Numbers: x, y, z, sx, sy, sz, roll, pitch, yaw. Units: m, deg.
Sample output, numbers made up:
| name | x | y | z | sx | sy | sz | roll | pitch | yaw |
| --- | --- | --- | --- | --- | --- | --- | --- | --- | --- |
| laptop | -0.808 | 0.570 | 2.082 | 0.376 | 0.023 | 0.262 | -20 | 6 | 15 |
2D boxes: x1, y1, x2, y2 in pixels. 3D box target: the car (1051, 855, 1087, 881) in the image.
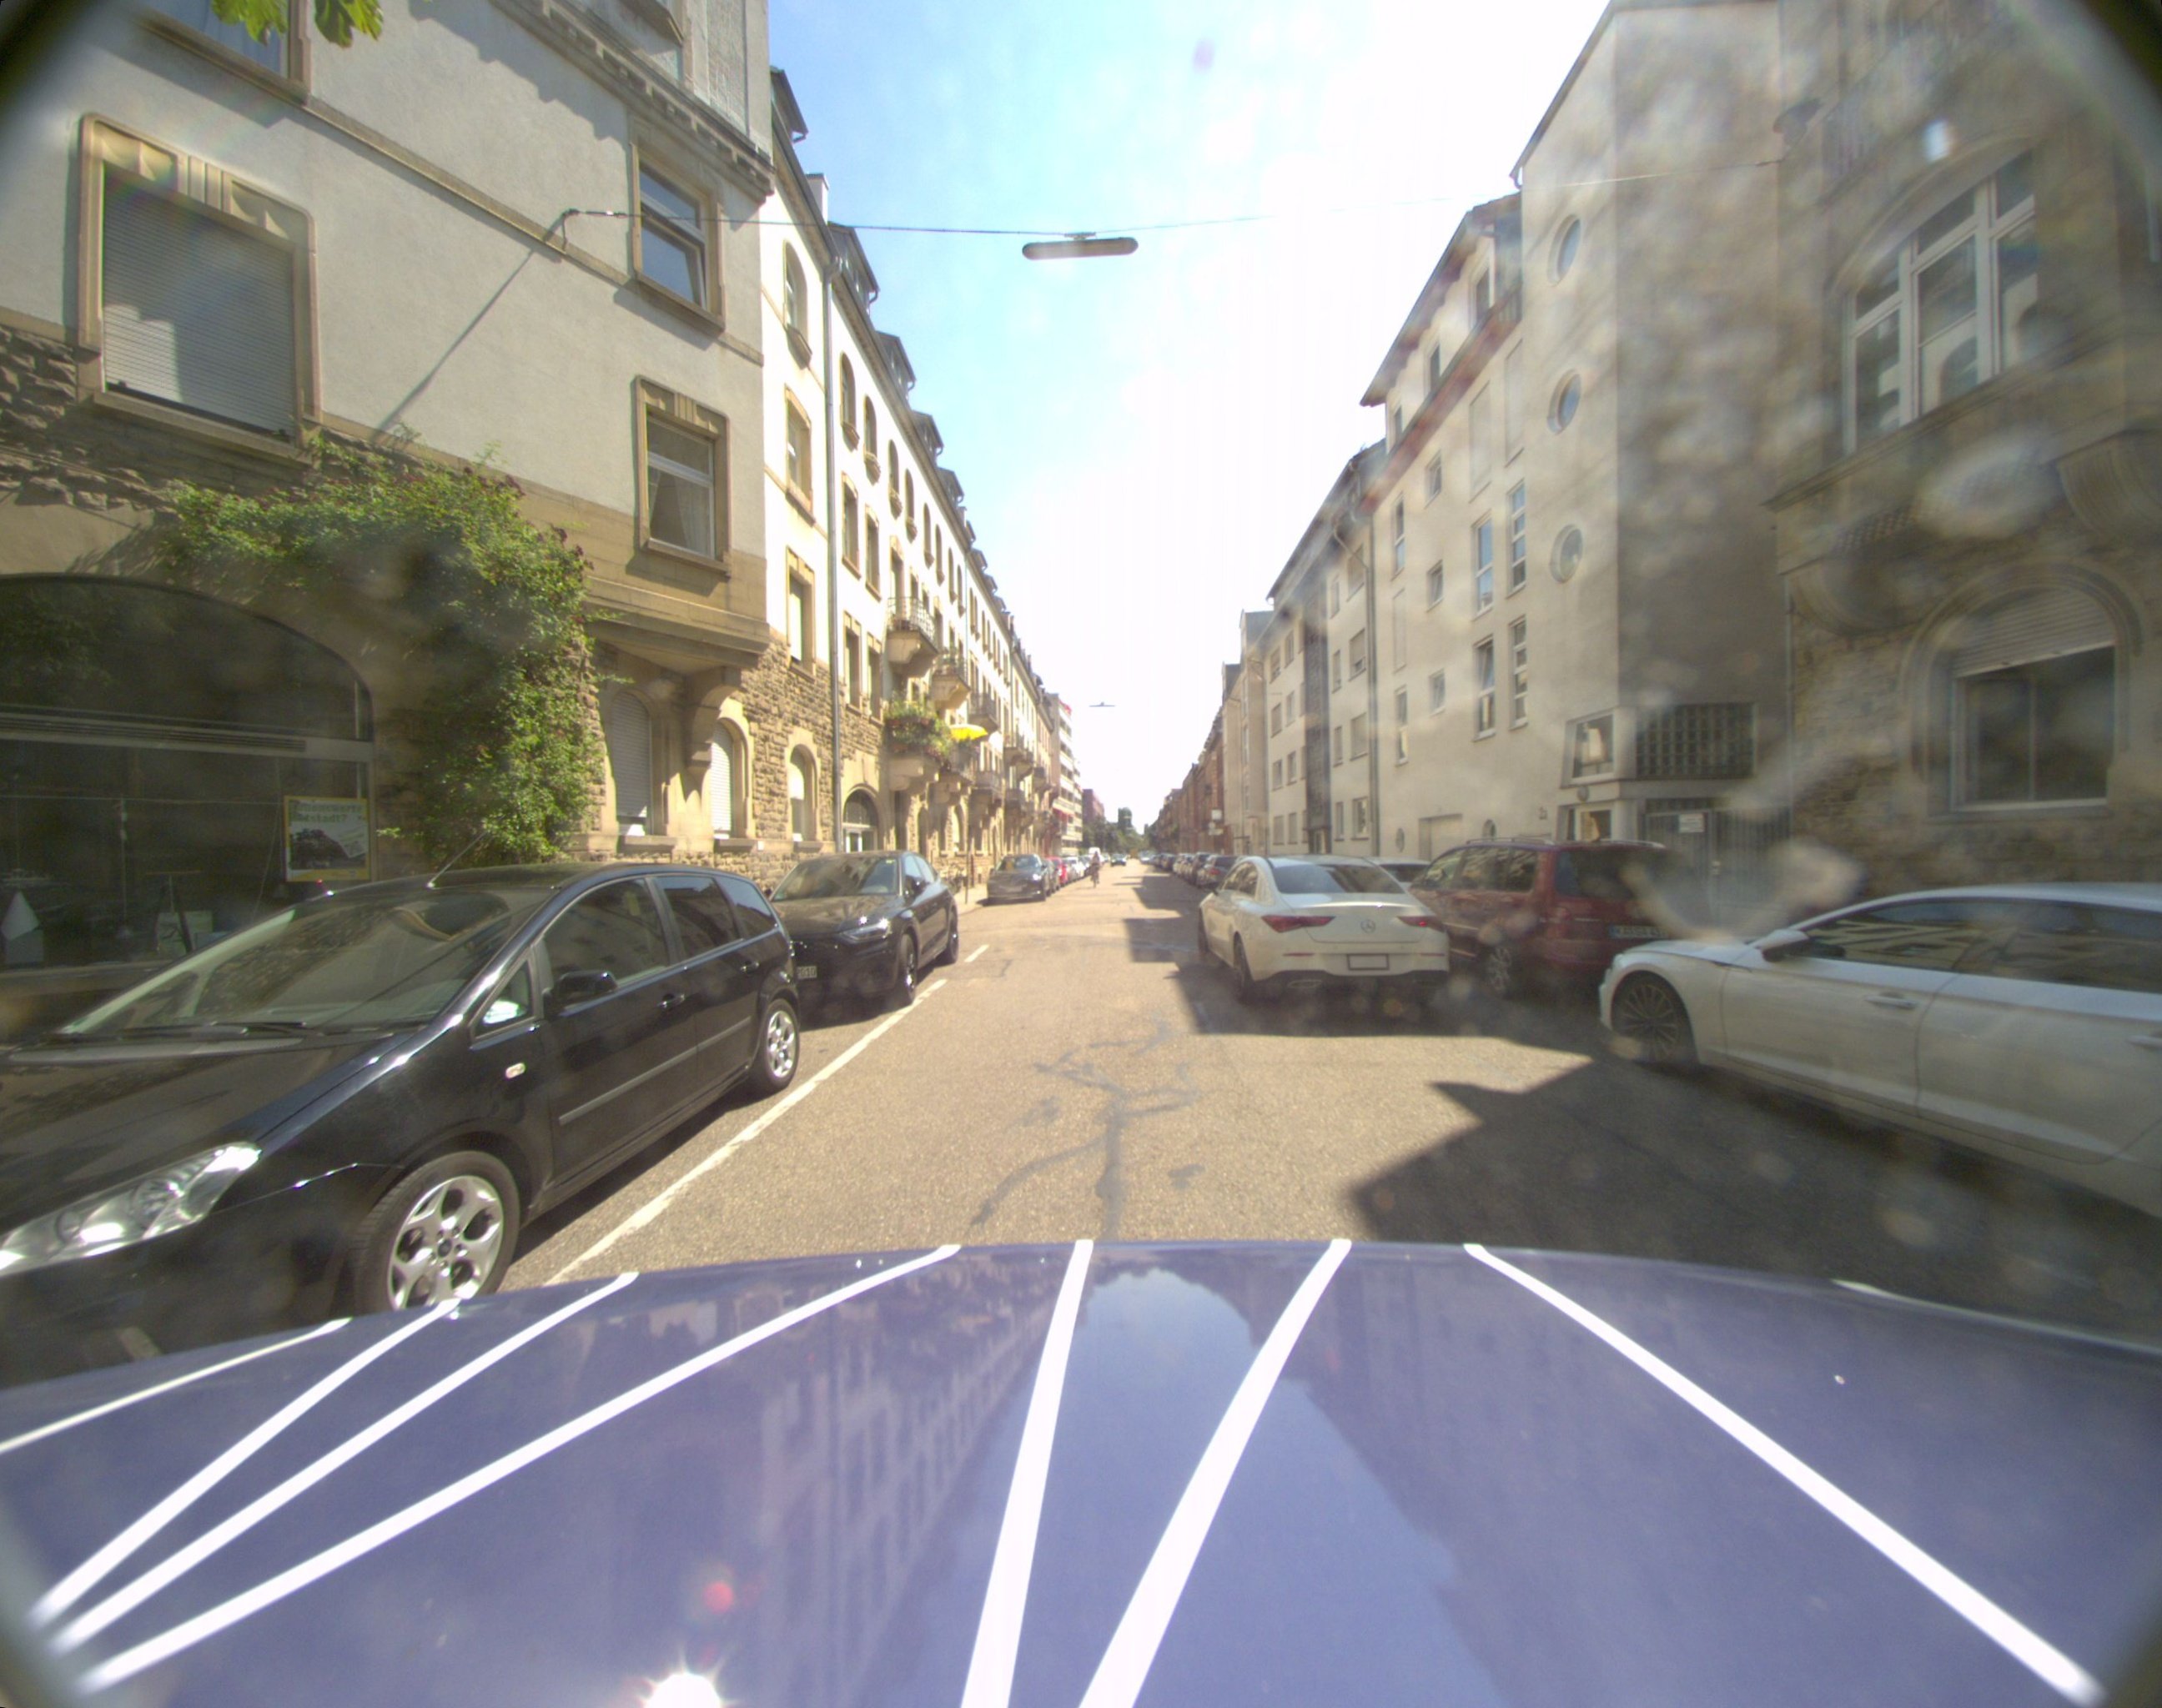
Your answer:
| name | x | y | z | sx | sy | sz | roll | pitch | yaw |
| --- | --- | --- | --- | --- | --- | --- | --- | --- | --- |
| car | -0.697 | 0.830 | 48.563 | 1.720 | 1.444 | 4.598 | -3 | 0 | 5 |

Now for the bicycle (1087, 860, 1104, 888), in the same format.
| name | x | y | z | sx | sy | sz | roll | pitch | yaw |
| --- | --- | --- | --- | --- | --- | --- | --- | --- | --- |
| bicycle | 0.676 | 0.893 | 34.454 | 0.671 | 1.169 | 2.095 | 0 | 1 | 4 |

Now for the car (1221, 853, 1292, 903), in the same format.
| name | x | y | z | sx | sy | sz | roll | pitch | yaw |
| --- | --- | --- | --- | --- | --- | --- | --- | --- | --- |
| car | 5.793 | 0.743 | 25.495 | 1.571 | 1.483 | 3.894 | 1 | 1 | 2 |

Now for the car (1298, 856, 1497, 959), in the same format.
| name | x | y | z | sx | sy | sz | roll | pitch | yaw |
| --- | --- | --- | --- | --- | --- | --- | --- | --- | --- |
| car | 5.392 | 0.816 | 13.623 | 1.781 | 1.451 | 4.278 | 1 | 1 | 1 |

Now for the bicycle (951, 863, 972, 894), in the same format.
| name | x | y | z | sx | sy | sz | roll | pitch | yaw |
| --- | --- | --- | --- | --- | --- | --- | --- | --- | --- |
| bicycle | -4.831 | 0.970 | 30.877 | 0.442 | 1.201 | 1.775 | 0 | 1 | 4 |

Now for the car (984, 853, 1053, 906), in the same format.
| name | x | y | z | sx | sy | sz | roll | pitch | yaw |
| --- | --- | --- | --- | --- | --- | --- | --- | --- | --- |
| car | -2.058 | 0.807 | 26.383 | 1.837 | 1.558 | 4.605 | -3 | 0 | 2 |

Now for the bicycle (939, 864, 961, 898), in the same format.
| name | x | y | z | sx | sy | sz | roll | pitch | yaw |
| --- | --- | --- | --- | --- | --- | --- | --- | --- | --- |
| bicycle | -4.900 | 1.003 | 28.438 | 0.385 | 1.201 | 1.775 | 0 | 1 | 4 |

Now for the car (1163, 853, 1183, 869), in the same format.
| name | x | y | z | sx | sy | sz | roll | pitch | yaw |
| --- | --- | --- | --- | --- | --- | --- | --- | --- | --- |
| car | 8.604 | 0.627 | 71.368 | 1.632 | 1.421 | 3.679 | 3 | 1 | 5 |

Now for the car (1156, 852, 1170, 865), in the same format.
| name | x | y | z | sx | sy | sz | roll | pitch | yaw |
| --- | --- | --- | --- | --- | --- | --- | --- | --- | --- |
| car | 9.832 | 0.558 | 91.687 | 1.449 | 1.391 | 3.526 | 3 | 1 | 4 |

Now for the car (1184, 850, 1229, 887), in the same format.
| name | x | y | z | sx | sy | sz | roll | pitch | yaw |
| --- | --- | --- | --- | --- | --- | --- | --- | --- | --- |
| car | 5.953 | 0.647 | 36.389 | 1.607 | 1.634 | 3.977 | 1 | 1 | 2 |

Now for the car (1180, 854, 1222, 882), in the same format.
| name | x | y | z | sx | sy | sz | roll | pitch | yaw |
| --- | --- | --- | --- | --- | --- | --- | --- | --- | --- |
| car | 6.519 | 0.740 | 41.737 | 1.769 | 1.385 | 4.349 | 1 | 1 | 2 |

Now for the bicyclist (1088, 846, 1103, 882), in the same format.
| name | x | y | z | sx | sy | sz | roll | pitch | yaw |
| --- | --- | --- | --- | --- | --- | --- | --- | --- | --- |
| bicyclist | 0.669 | 0.451 | 34.455 | 0.644 | 1.640 | 0.622 | 0 | 1 | 4 |

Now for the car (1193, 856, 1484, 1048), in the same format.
| name | x | y | z | sx | sy | sz | roll | pitch | yaw |
| --- | --- | --- | --- | --- | --- | --- | --- | --- | --- |
| car | 2.401 | 0.802 | 8.349 | 1.845 | 1.452 | 4.362 | 1 | 1 | 2 |

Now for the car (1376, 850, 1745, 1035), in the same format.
| name | x | y | z | sx | sy | sz | roll | pitch | yaw |
| --- | --- | --- | --- | --- | --- | --- | --- | --- | --- |
| car | 4.998 | 0.765 | 8.712 | 1.676 | 1.574 | 4.052 | 1 | 1 | 1 |

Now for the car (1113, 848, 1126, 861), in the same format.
| name | x | y | z | sx | sy | sz | roll | pitch | yaw |
| --- | --- | --- | --- | --- | --- | --- | --- | --- | --- |
| car | 4.882 | 0.092 | 97.200 | 1.624 | 1.601 | 3.598 | 0 | 1 | 3 |

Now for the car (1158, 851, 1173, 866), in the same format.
| name | x | y | z | sx | sy | sz | roll | pitch | yaw |
| --- | --- | --- | --- | --- | --- | --- | --- | --- | --- |
| car | 9.624 | 0.478 | 86.752 | 1.449 | 1.633 | 3.526 | 3 | 1 | 3 |

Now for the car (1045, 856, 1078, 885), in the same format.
| name | x | y | z | sx | sy | sz | roll | pitch | yaw |
| --- | --- | --- | --- | --- | --- | --- | --- | --- | --- |
| car | -1.068 | 0.901 | 43.154 | 1.593 | 1.444 | 3.856 | -3 | 0 | 2 |

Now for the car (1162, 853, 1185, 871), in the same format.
| name | x | y | z | sx | sy | sz | roll | pitch | yaw |
| --- | --- | --- | --- | --- | --- | --- | --- | --- | --- |
| car | 8.026 | 0.705 | 66.057 | 1.781 | 1.421 | 3.838 | 3 | 1 | 5 |

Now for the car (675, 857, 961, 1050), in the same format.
| name | x | y | z | sx | sy | sz | roll | pitch | yaw |
| --- | --- | --- | --- | --- | --- | --- | --- | --- | --- |
| car | -2.681 | 0.900 | 8.939 | 1.740 | 1.587 | 4.347 | -3 | 0 | 0 |

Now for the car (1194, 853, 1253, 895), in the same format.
| name | x | y | z | sx | sy | sz | roll | pitch | yaw |
| --- | --- | --- | --- | --- | --- | --- | --- | --- | --- |
| car | 5.713 | 0.735 | 30.876 | 1.660 | 1.510 | 4.671 | 1 | 1 | 2 |

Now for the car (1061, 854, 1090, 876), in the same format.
| name | x | y | z | sx | sy | sz | roll | pitch | yaw |
| --- | --- | --- | --- | --- | --- | --- | --- | --- | --- |
| car | -0.326 | 0.759 | 54.093 | 1.740 | 1.449 | 4.669 | 0 | 1 | 3 |

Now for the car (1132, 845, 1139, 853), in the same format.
| name | x | y | z | sx | sy | sz | roll | pitch | yaw |
| --- | --- | --- | --- | --- | --- | --- | --- | --- | --- |
| car | 14.879 | -1.302 | 205.883 | 1.784 | 2.002 | 4.001 | -1 | 1 | 6 |

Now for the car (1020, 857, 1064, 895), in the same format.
| name | x | y | z | sx | sy | sz | roll | pitch | yaw |
| --- | --- | --- | --- | --- | --- | --- | --- | --- | --- |
| car | -1.606 | 0.876 | 32.255 | 1.516 | 1.390 | 3.972 | -3 | 0 | 1 |

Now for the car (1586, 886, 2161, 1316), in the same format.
| name | x | y | z | sx | sy | sz | roll | pitch | yaw |
| --- | --- | --- | --- | --- | --- | --- | --- | --- | --- |
| car | 4.651 | 0.954 | 3.437 | 1.706 | 1.345 | 4.514 | 1 | 1 | 0 |

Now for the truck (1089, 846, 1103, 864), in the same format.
| name | x | y | z | sx | sy | sz | roll | pitch | yaw |
| --- | --- | --- | --- | --- | --- | --- | --- | --- | --- |
| truck | 2.374 | 0.157 | 117.304 | 1.869 | 2.715 | 4.508 | 0 | 1 | 4 |

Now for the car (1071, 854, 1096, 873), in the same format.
| name | x | y | z | sx | sy | sz | roll | pitch | yaw |
| --- | --- | --- | --- | --- | --- | --- | --- | --- | --- |
| car | 0.235 | 0.715 | 60.032 | 1.828 | 1.423 | 4.489 | -1 | 0 | 1 |

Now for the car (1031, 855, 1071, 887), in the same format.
| name | x | y | z | sx | sy | sz | roll | pitch | yaw |
| --- | --- | --- | --- | --- | --- | --- | --- | --- | --- |
| car | -1.451 | 0.819 | 38.219 | 1.574 | 1.444 | 3.843 | -3 | 0 | 3 |

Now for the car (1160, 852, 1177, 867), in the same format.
| name | x | y | z | sx | sy | sz | roll | pitch | yaw |
| --- | --- | --- | --- | --- | --- | --- | --- | --- | --- |
| car | 9.282 | 0.580 | 80.562 | 1.450 | 1.464 | 3.526 | 3 | 1 | 2 |

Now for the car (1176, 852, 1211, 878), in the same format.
| name | x | y | z | sx | sy | sz | roll | pitch | yaw |
| --- | --- | --- | --- | --- | --- | --- | --- | --- | --- |
| car | 7.118 | 0.638 | 48.380 | 1.734 | 1.486 | 4.349 | 2 | 1 | 2 |

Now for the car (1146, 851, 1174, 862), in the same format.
| name | x | y | z | sx | sy | sz | roll | pitch | yaw |
| --- | --- | --- | --- | --- | --- | --- | --- | --- | --- |
| car | 11.213 | 0.368 | 108.396 | 3.995 | 1.422 | 1.678 | 0 | 1 | 4 |

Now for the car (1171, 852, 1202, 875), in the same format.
| name | x | y | z | sx | sy | sz | roll | pitch | yaw |
| --- | --- | --- | --- | --- | --- | --- | --- | --- | --- |
| car | 7.675 | 0.672 | 55.382 | 1.632 | 1.540 | 3.853 | 3 | 1 | 0 |

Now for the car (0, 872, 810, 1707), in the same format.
| name | x | y | z | sx | sy | sz | roll | pitch | yaw |
| --- | --- | --- | --- | --- | --- | --- | --- | --- | --- |
| car | -2.903 | 0.957 | 3.485 | 1.667 | 1.531 | 4.178 | -3 | 0 | 1 |
